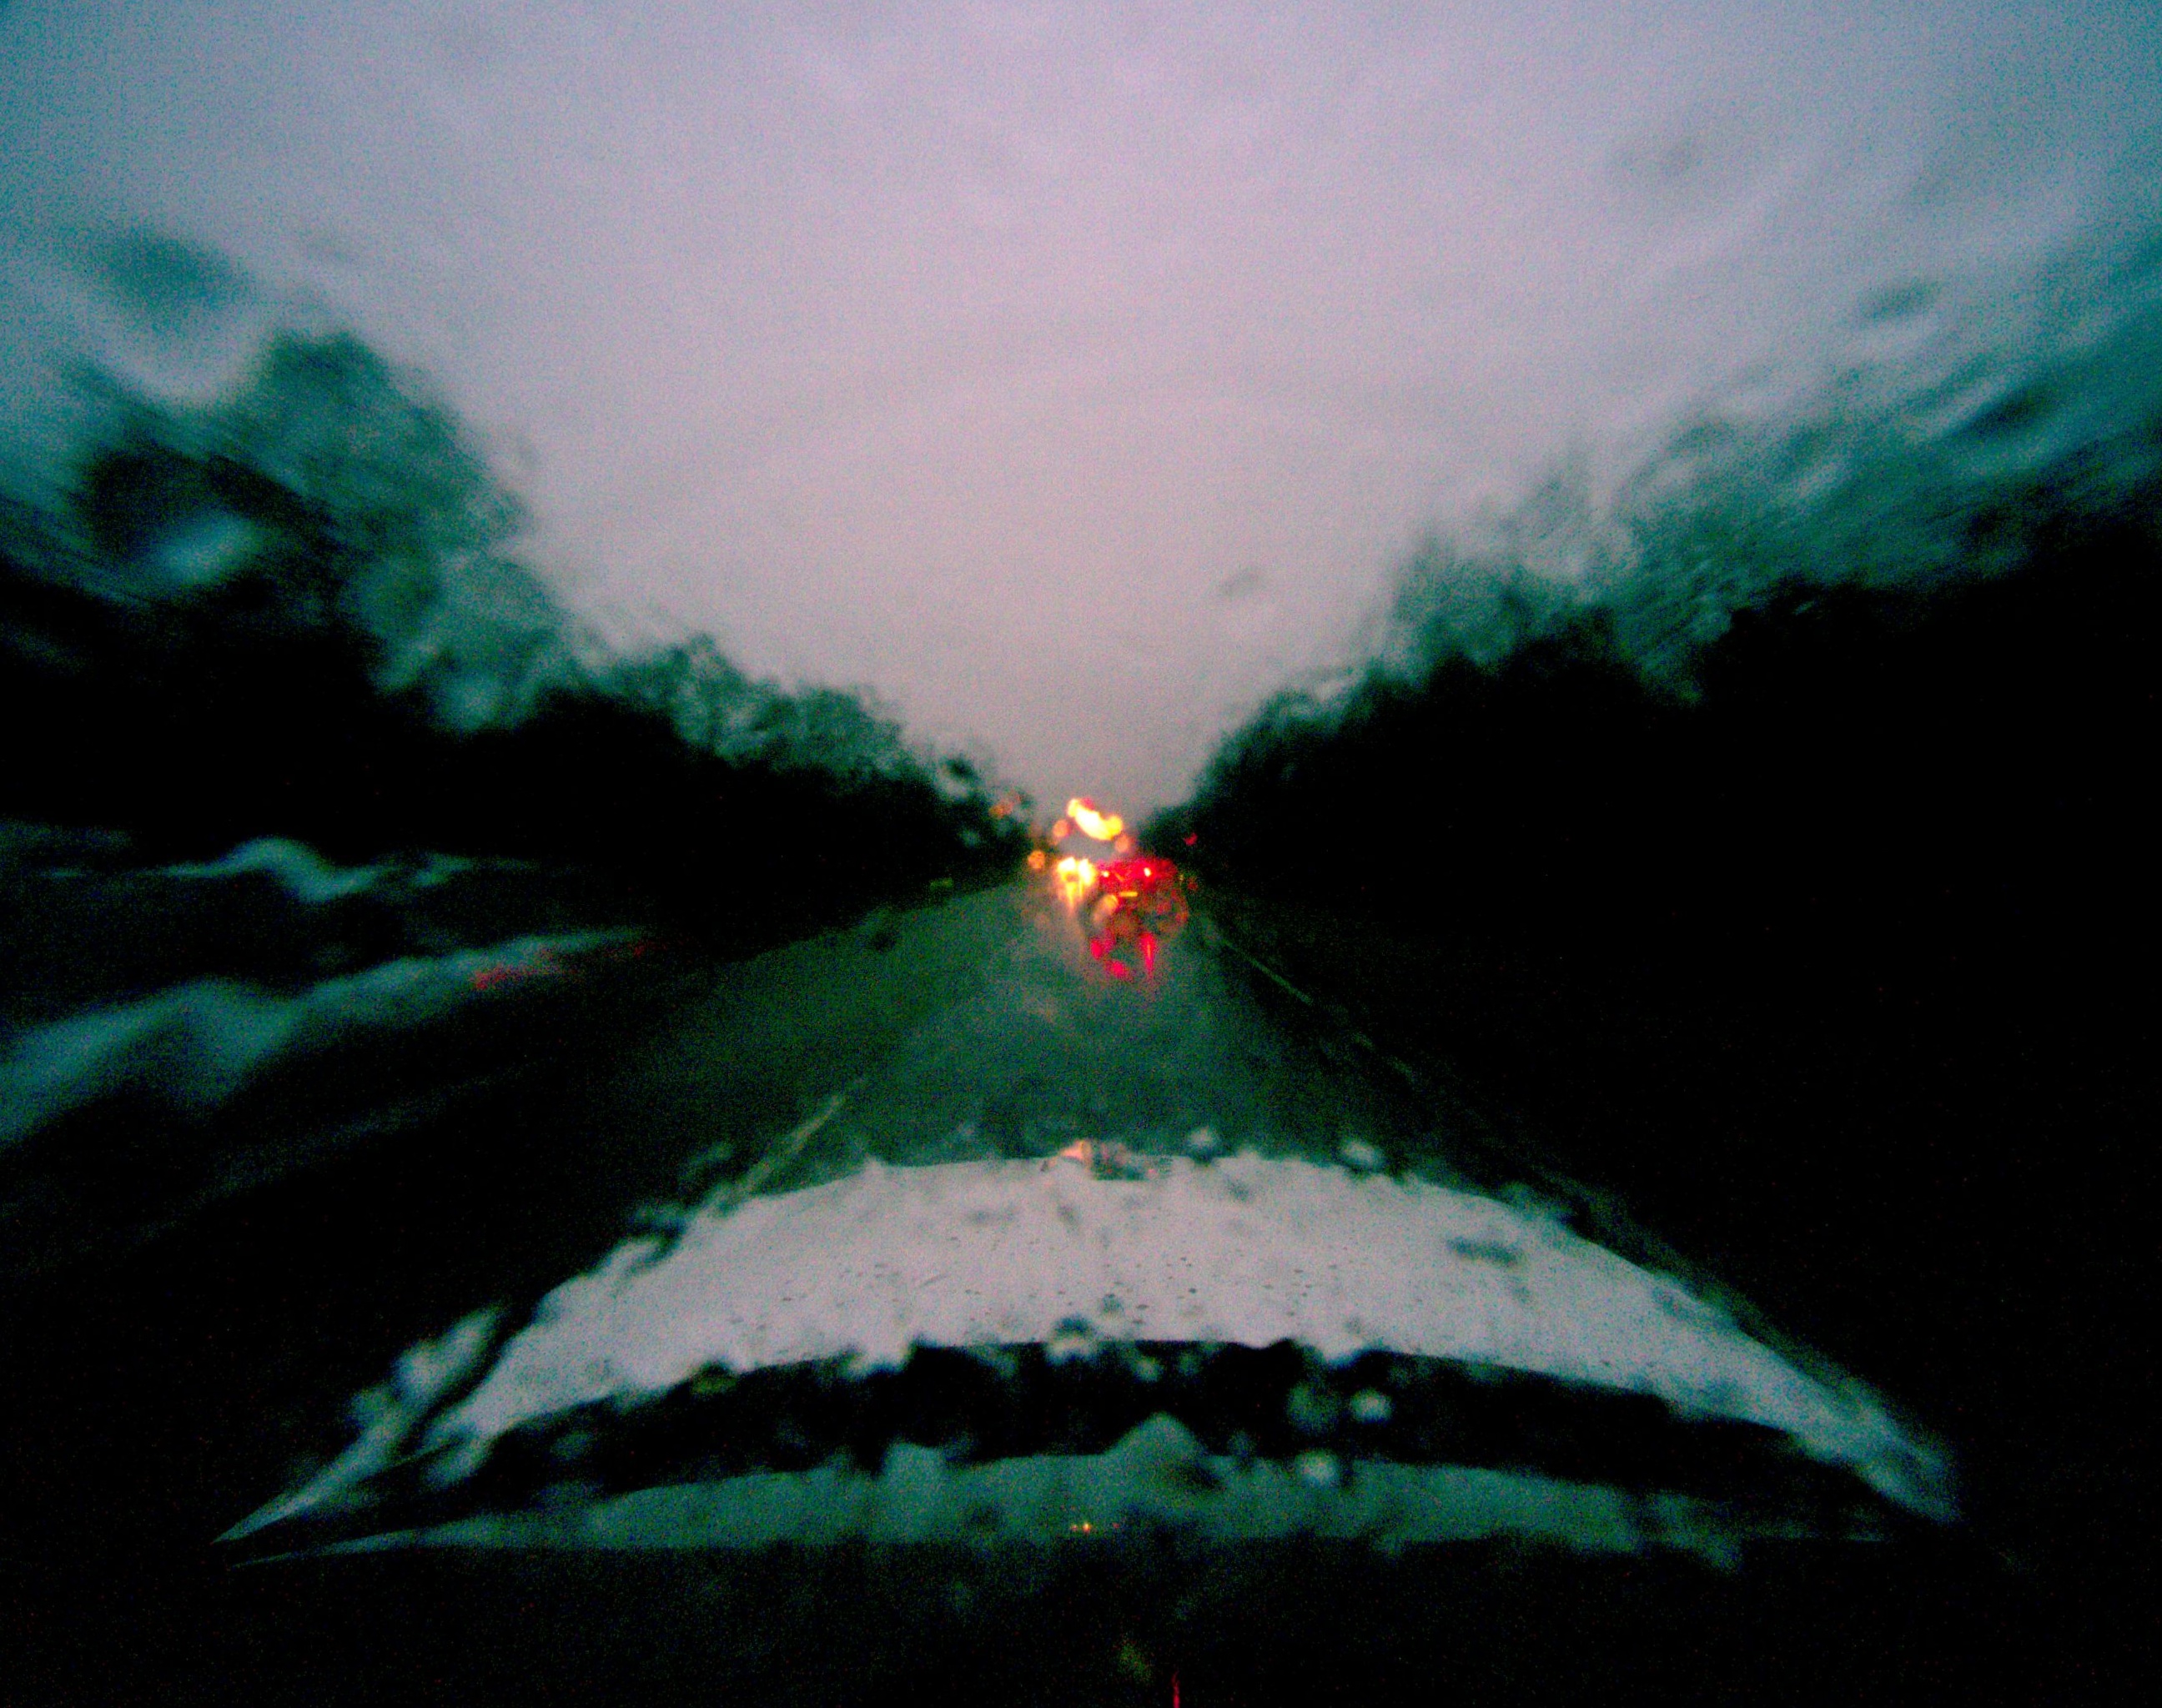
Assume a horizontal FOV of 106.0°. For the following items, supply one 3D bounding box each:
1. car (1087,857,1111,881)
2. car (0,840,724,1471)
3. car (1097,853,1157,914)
[{"bbox_3d":[1.395,1.144,62.200,1.727,1.779,4.001,0,-1,1],"label":"car"},{"bbox_3d":[-3.462,0.737,3.290,1.727,1.534,4.961,0,0,1],"label":"car"},{"bbox_3d":[1.328,0.830,24.272,1.642,1.672,3.515,0,-1,2],"label":"car"}]
